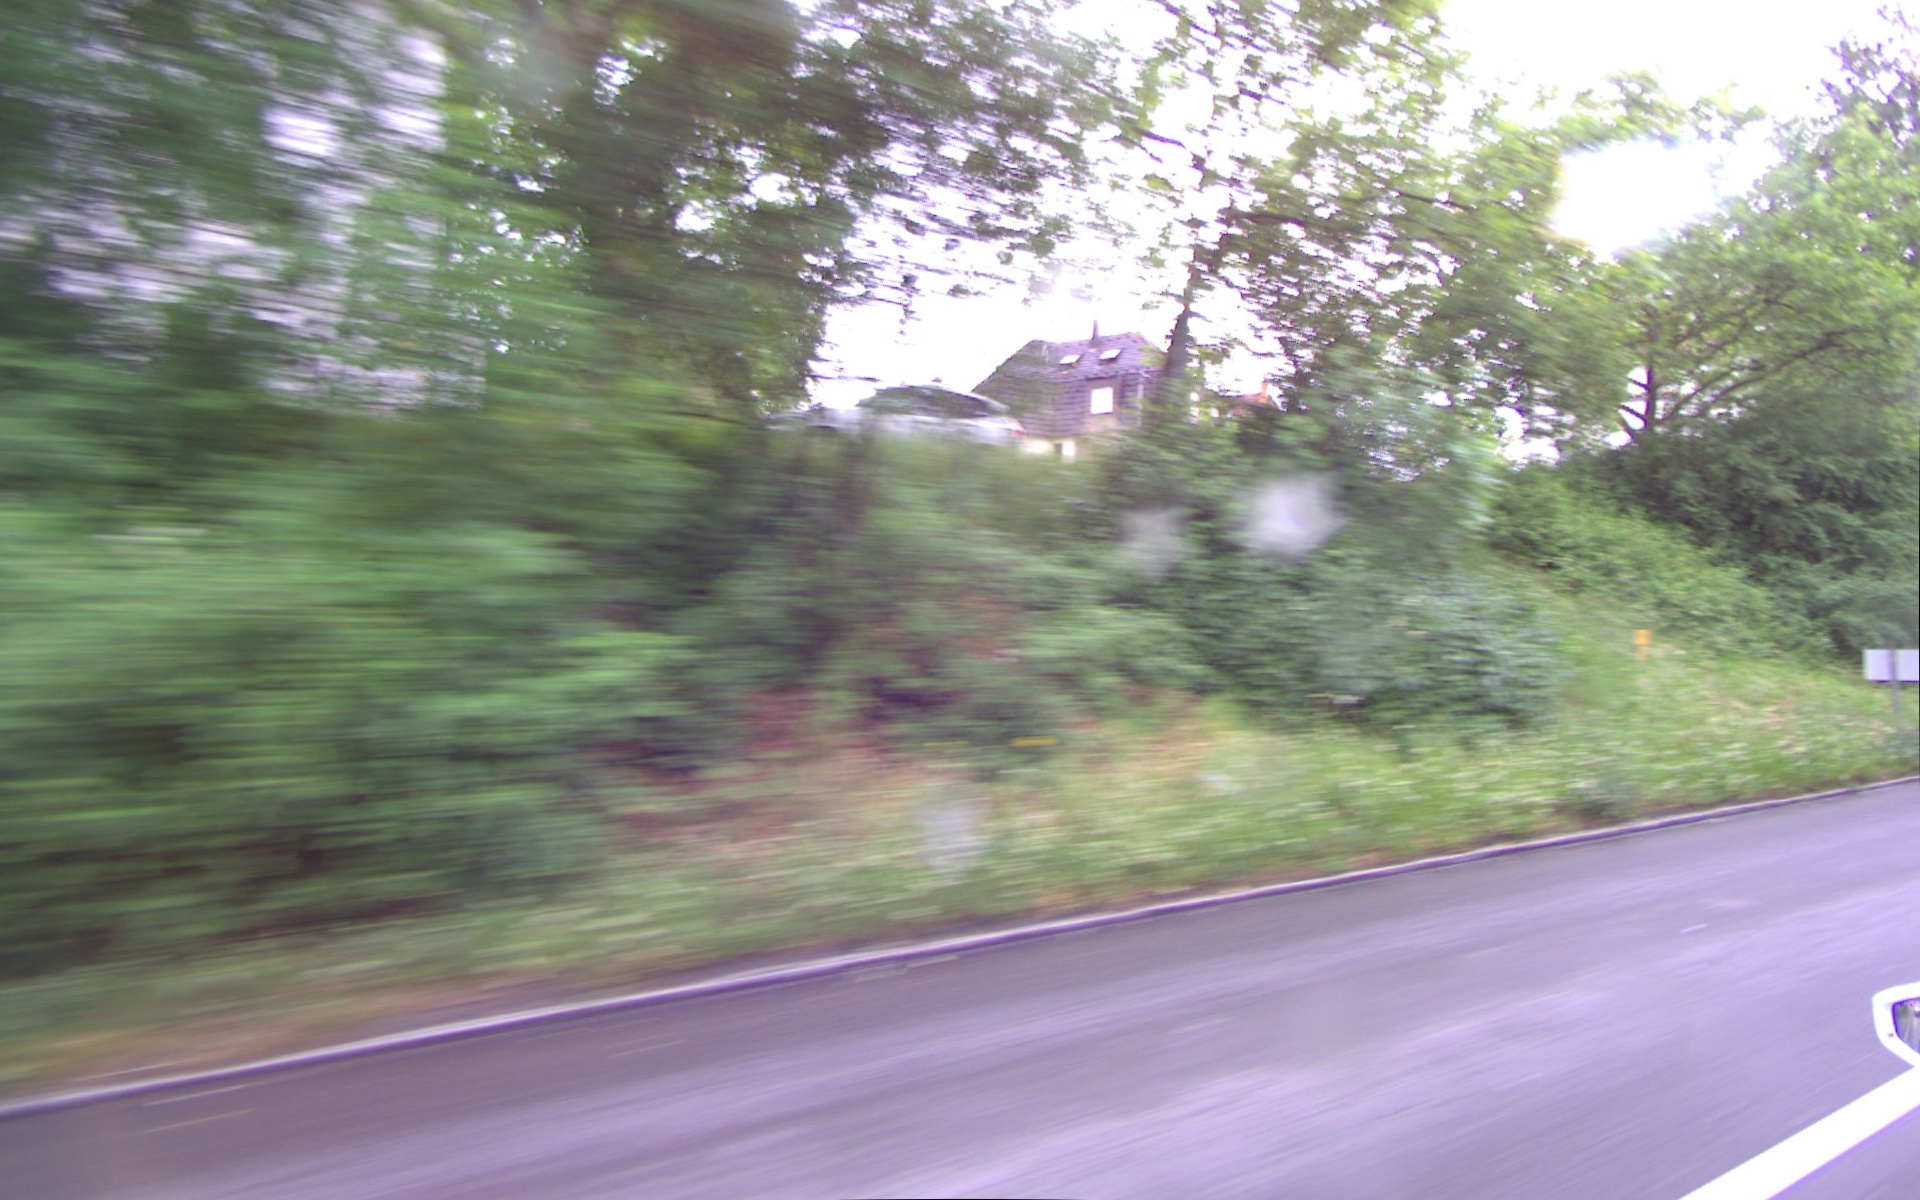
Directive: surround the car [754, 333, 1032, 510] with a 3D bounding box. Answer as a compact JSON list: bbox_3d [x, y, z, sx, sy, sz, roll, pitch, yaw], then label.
[{"bbox_3d":[-1.021,-2.672,16.016,3.961,2.040,1.980,2,0,-35],"label":"car"}]
